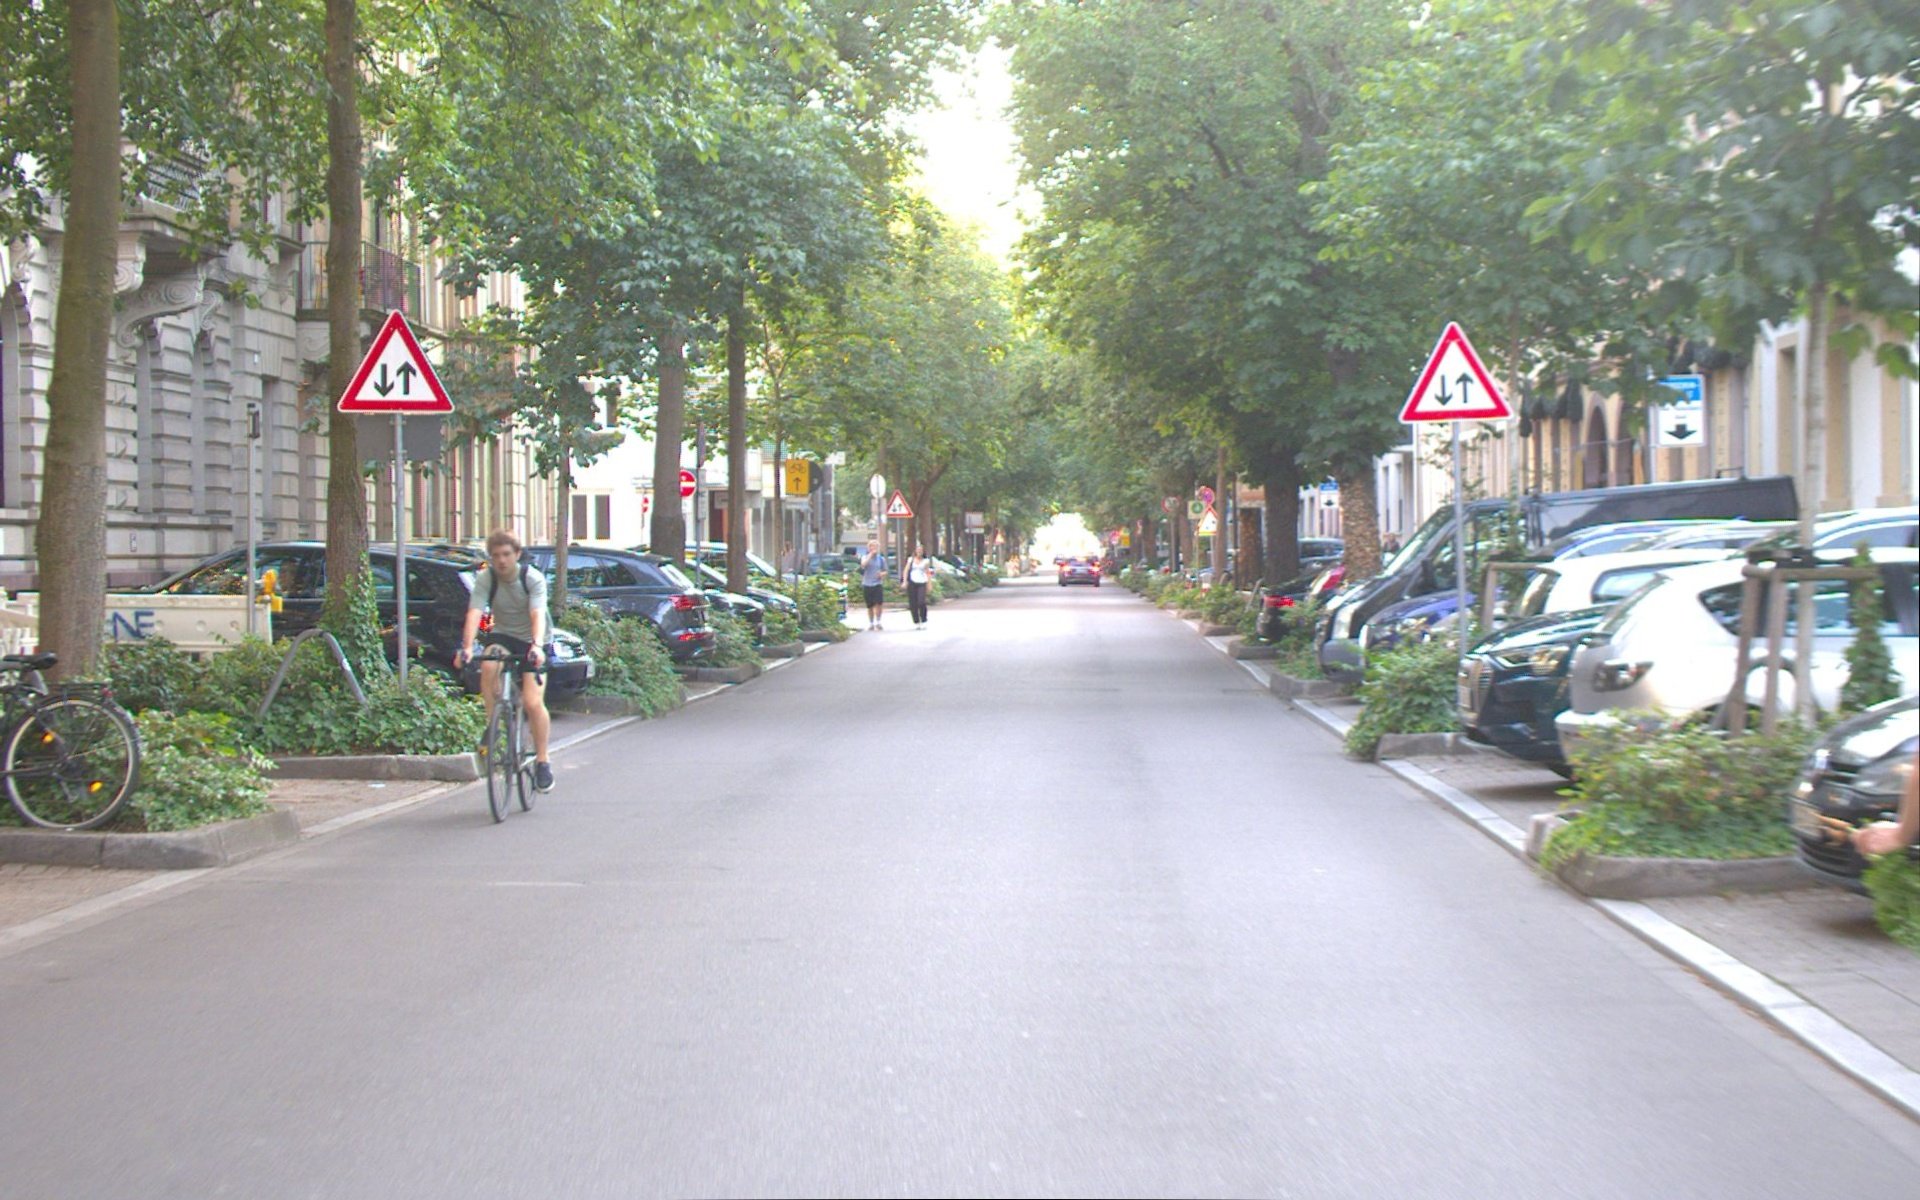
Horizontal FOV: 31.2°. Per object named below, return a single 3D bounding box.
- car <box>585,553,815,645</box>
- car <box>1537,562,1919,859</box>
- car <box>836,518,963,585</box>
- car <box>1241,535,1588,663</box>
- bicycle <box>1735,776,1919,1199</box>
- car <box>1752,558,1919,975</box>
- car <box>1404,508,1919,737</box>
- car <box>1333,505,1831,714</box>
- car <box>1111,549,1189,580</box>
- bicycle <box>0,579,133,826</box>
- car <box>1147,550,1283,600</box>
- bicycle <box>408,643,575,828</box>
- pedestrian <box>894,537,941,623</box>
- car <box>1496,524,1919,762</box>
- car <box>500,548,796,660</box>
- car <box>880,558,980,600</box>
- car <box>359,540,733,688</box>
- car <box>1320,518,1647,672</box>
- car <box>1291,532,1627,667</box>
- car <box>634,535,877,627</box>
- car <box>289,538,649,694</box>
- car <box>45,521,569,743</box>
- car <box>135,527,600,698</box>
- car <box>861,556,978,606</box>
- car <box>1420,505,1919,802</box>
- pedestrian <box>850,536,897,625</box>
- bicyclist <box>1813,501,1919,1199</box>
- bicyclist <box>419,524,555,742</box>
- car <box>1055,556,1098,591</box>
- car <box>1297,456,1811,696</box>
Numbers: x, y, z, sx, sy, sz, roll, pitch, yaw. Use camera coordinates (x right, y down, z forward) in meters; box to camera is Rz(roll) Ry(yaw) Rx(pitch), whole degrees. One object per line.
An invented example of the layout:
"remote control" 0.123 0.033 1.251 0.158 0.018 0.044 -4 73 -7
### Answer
"car" -4.367 -0.029 58.211 3.692 1.453 1.872 1 1 2
"car" 5.398 0.515 19.134 4.075 1.424 1.818 -4 0 4
"car" -2.276 -1.805 129.787 4.682 2.469 2.000 0 0 2
"car" 6.162 -0.021 46.955 4.400 1.389 1.886 -4 0 0
"bicycle" 2.082 0.917 6.651 0.672 1.026 1.977 1 0 -1
"car" 5.450 0.530 13.319 4.315 1.491 1.794 -2 0 1
"car" 5.846 0.174 28.667 3.965 1.573 1.851 -4 0 1
"car" 5.668 0.079 31.737 4.155 1.573 1.970 -4 0 1
"car" 10.606 -1.975 192.328 4.268 1.560 1.963 -2 0 2
"bicycle" -5.136 0.511 17.435 1.771 1.228 0.500 0 -1 7
"car" 8.939 -0.893 120.846 4.718 1.704 1.949 0 1 4
"bicycle" -2.776 0.786 20.512 0.672 0.990 1.758 -1 1 2
"pedestrian" -0.847 -0.399 68.266 0.794 1.665 0.831 -2 0 -8
"car" 5.845 0.250 24.247 3.793 1.418 1.697 -4 0 1
"car" -4.354 0.046 48.356 3.945 1.527 1.907 0 0 2
"car" -1.289 -0.913 149.924 4.203 1.630 1.963 -2 0 2
"car" -4.946 0.142 41.455 4.201 1.666 1.907 1 1 2
"car" 6.327 -0.065 41.828 3.680 1.573 1.714 -4 0 3
"car" 6.406 -0.013 44.443 3.987 1.433 1.926 -4 0 1
"car" -3.865 -0.371 65.593 4.426 1.645 1.872 1 1 3
"car" -5.536 0.158 39.061 3.801 1.666 1.714 1 1 1
"car" -5.441 0.248 28.982 3.965 1.591 1.780 3 1 2
"car" -5.519 0.091 32.305 3.965 1.382 1.765 3 2 3
"car" -1.677 -0.775 142.209 4.682 1.848 1.963 -2 0 2
"car" 5.321 0.246 21.379 4.590 1.573 1.944 -4 0 1
"pedestrian" -1.726 -0.389 68.252 0.794 1.731 0.831 -2 0 -8
"bicyclist" 2.093 0.498 6.641 0.672 1.359 0.776 1 0 -1
"bicyclist" -2.797 0.186 20.394 0.672 1.259 0.648 -1 1 2
"car" 5.576 -1.270 164.107 1.956 1.560 4.282 -2 0 2
"car" 5.861 -0.240 34.391 4.689 2.004 2.037 -4 0 2
